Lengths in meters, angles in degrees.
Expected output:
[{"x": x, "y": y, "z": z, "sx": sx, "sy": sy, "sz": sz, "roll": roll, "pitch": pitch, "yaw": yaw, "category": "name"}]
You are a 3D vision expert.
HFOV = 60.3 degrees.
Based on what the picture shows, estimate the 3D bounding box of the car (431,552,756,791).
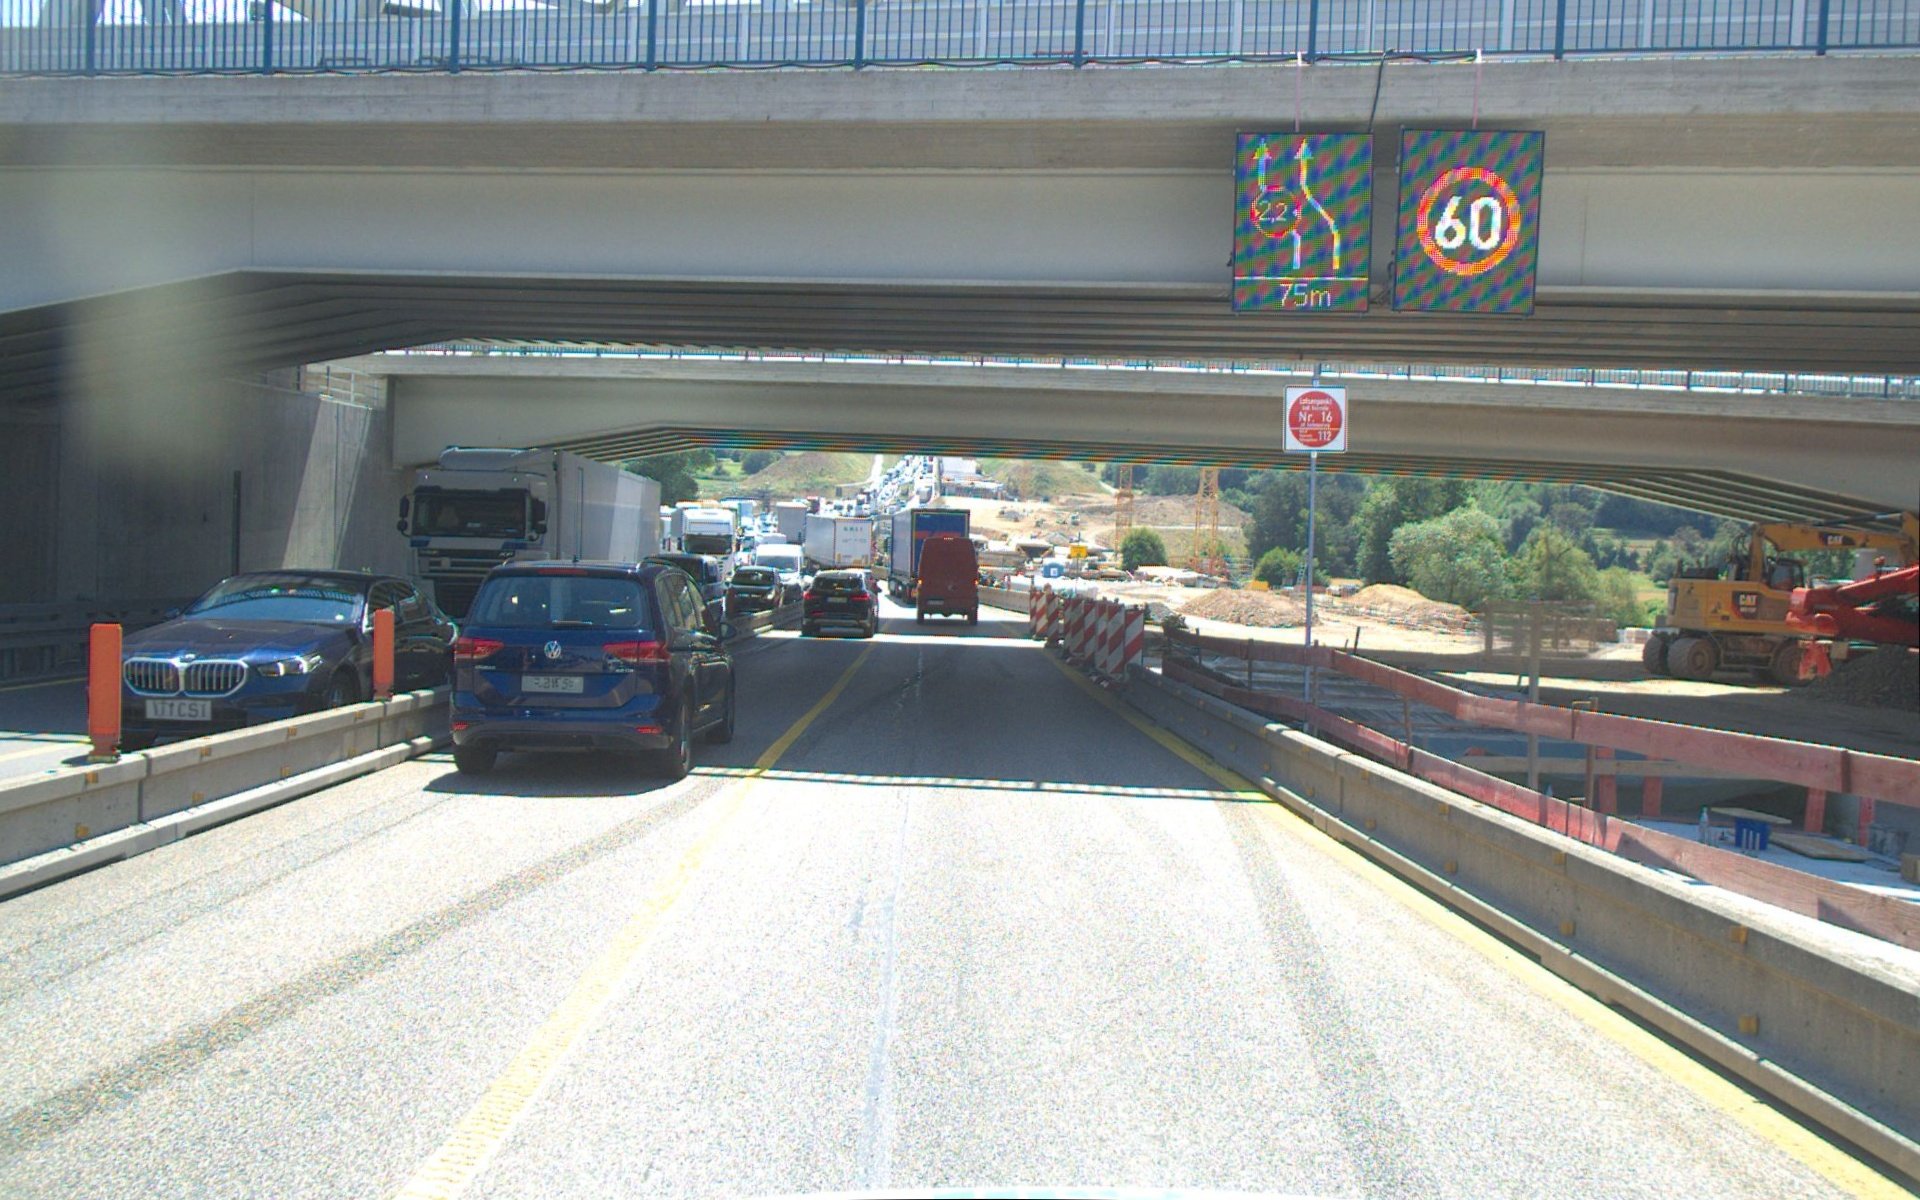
[{"x": -2.888, "y": 0.506, "z": 13.992, "sx": 1.698, "sy": 1.664, "sz": 4.390, "roll": 1, "pitch": 0, "yaw": 0, "category": "car"}]

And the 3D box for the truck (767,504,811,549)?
[{"x": -15.257, "y": -6.478, "z": 147.009, "sx": 3.160, "sy": 3.419, "sz": 8.919, "roll": 1, "pitch": 0, "yaw": -10, "category": "truck"}]

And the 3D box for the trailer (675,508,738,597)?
[{"x": -13.321, "y": -2.500, "z": 86.745, "sx": 2.824, "sy": 4.109, "sz": 14.330, "roll": 3, "pitch": 1, "yaw": -9, "category": "trailer"}]

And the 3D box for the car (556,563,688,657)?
[{"x": -6.525, "y": 0.132, "z": 32.388, "sx": 1.687, "sy": 1.637, "sz": 4.523, "roll": 3, "pitch": 1, "yaw": -1, "category": "car"}]

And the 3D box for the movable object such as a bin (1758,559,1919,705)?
[{"x": 21.481, "y": 0.794, "z": 37.860, "sx": 5.130, "sy": 3.110, "sz": 2.497, "roll": 3, "pitch": -1, "yaw": 3, "category": "movable object such as a bin"}]

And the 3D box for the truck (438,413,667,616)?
[{"x": -10.111, "y": -1.823, "z": 42.926, "sx": 2.713, "sy": 4.389, "sz": 13.487, "roll": 1, "pitch": 0, "yaw": -1, "category": "truck"}]

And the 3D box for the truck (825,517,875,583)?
[{"x": -7.228, "y": -3.359, "z": 109.098, "sx": 3.119, "sy": 4.058, "sz": 6.739, "roll": 1, "pitch": 3, "yaw": -4, "category": "truck"}]

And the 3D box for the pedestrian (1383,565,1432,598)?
[{"x": 28.941, "y": -1.165, "z": 107.073, "sx": 1.953, "sy": 2.049, "sz": 3.998, "roll": 1, "pitch": 0, "yaw": -2, "category": "pedestrian"}]

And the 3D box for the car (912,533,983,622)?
[{"x": -0.410, "y": -0.661, "z": 53.073, "sx": 2.106, "sy": 2.656, "sz": 5.437, "roll": 1, "pitch": 0, "yaw": -1, "category": "car"}]

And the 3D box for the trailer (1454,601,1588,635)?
[{"x": 22.315, "y": 0.713, "z": 65.874, "sx": 4.617, "sy": 1.241, "sz": 2.055, "roll": 1, "pitch": -1, "yaw": -1, "category": "trailer"}]

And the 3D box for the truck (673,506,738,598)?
[{"x": -12.227, "y": -2.313, "z": 79.649, "sx": 2.820, "sy": 4.121, "sz": 4.876, "roll": 3, "pitch": 1, "yaw": -9, "category": "truck"}]

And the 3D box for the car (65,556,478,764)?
[{"x": -5.979, "y": 0.481, "z": 15.096, "sx": 1.818, "sy": 1.554, "sz": 4.772, "roll": 1, "pitch": 0, "yaw": -1, "category": "car"}]

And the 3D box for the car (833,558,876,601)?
[{"x": -4.626, "y": -0.882, "z": 72.407, "sx": 1.797, "sy": 1.808, "sz": 4.386, "roll": 1, "pitch": 0, "yaw": -4, "category": "car"}]

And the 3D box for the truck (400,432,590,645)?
[{"x": -9.963, "y": -1.219, "z": 35.979, "sx": 2.605, "sy": 4.244, "sz": 5.185, "roll": 1, "pitch": -1, "yaw": -1, "category": "truck"}]

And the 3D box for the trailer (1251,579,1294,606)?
[{"x": 19.253, "y": -0.449, "z": 102.028, "sx": 1.592, "sy": 1.511, "sz": 3.823, "roll": 2, "pitch": 1, "yaw": -4, "category": "trailer"}]

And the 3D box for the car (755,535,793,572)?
[{"x": -13.214, "y": -3.303, "z": 117.279, "sx": 2.224, "sy": 2.395, "sz": 5.148, "roll": 1, "pitch": 3, "yaw": -11, "category": "car"}]

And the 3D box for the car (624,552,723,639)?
[{"x": -6.979, "y": -0.140, "z": 40.725, "sx": 1.764, "sy": 1.966, "sz": 4.966, "roll": 1, "pitch": 1, "yaw": -3, "category": "car"}]

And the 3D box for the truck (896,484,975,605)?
[{"x": -1.171, "y": -2.534, "z": 73.169, "sx": 2.887, "sy": 5.030, "sz": 6.737, "roll": 1, "pitch": 3, "yaw": -5, "category": "truck"}]

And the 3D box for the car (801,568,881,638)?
[{"x": -3.008, "y": 0.042, "z": 42.590, "sx": 1.796, "sy": 1.664, "sz": 4.388, "roll": 1, "pitch": 1, "yaw": -1, "category": "car"}]

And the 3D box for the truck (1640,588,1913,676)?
[{"x": 23.122, "y": 0.877, "z": 47.079, "sx": 6.386, "sy": 2.109, "sz": 2.666, "roll": 3, "pitch": 1, "yaw": 2, "category": "truck"}]

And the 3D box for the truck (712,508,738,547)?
[{"x": -27.433, "y": -8.488, "z": 192.997, "sx": 2.574, "sy": 4.343, "sz": 4.728, "roll": 3, "pitch": 2, "yaw": -5, "category": "truck"}]

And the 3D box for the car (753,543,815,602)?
[{"x": -7.415, "y": -1.164, "z": 70.342, "sx": 1.940, "sy": 2.370, "sz": 6.058, "roll": 1, "pitch": 1, "yaw": 0, "category": "car"}]

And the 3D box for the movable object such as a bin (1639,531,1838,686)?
[{"x": 19.624, "y": 0.205, "z": 41.915, "sx": 3.799, "sy": 3.604, "sz": 2.905, "roll": 3, "pitch": -1, "yaw": 10, "category": "movable object such as a bin"}]

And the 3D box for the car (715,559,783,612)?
[{"x": -6.916, "y": -0.479, "z": 54.574, "sx": 1.713, "sy": 1.638, "sz": 4.141, "roll": 1, "pitch": 1, "yaw": 0, "category": "car"}]
